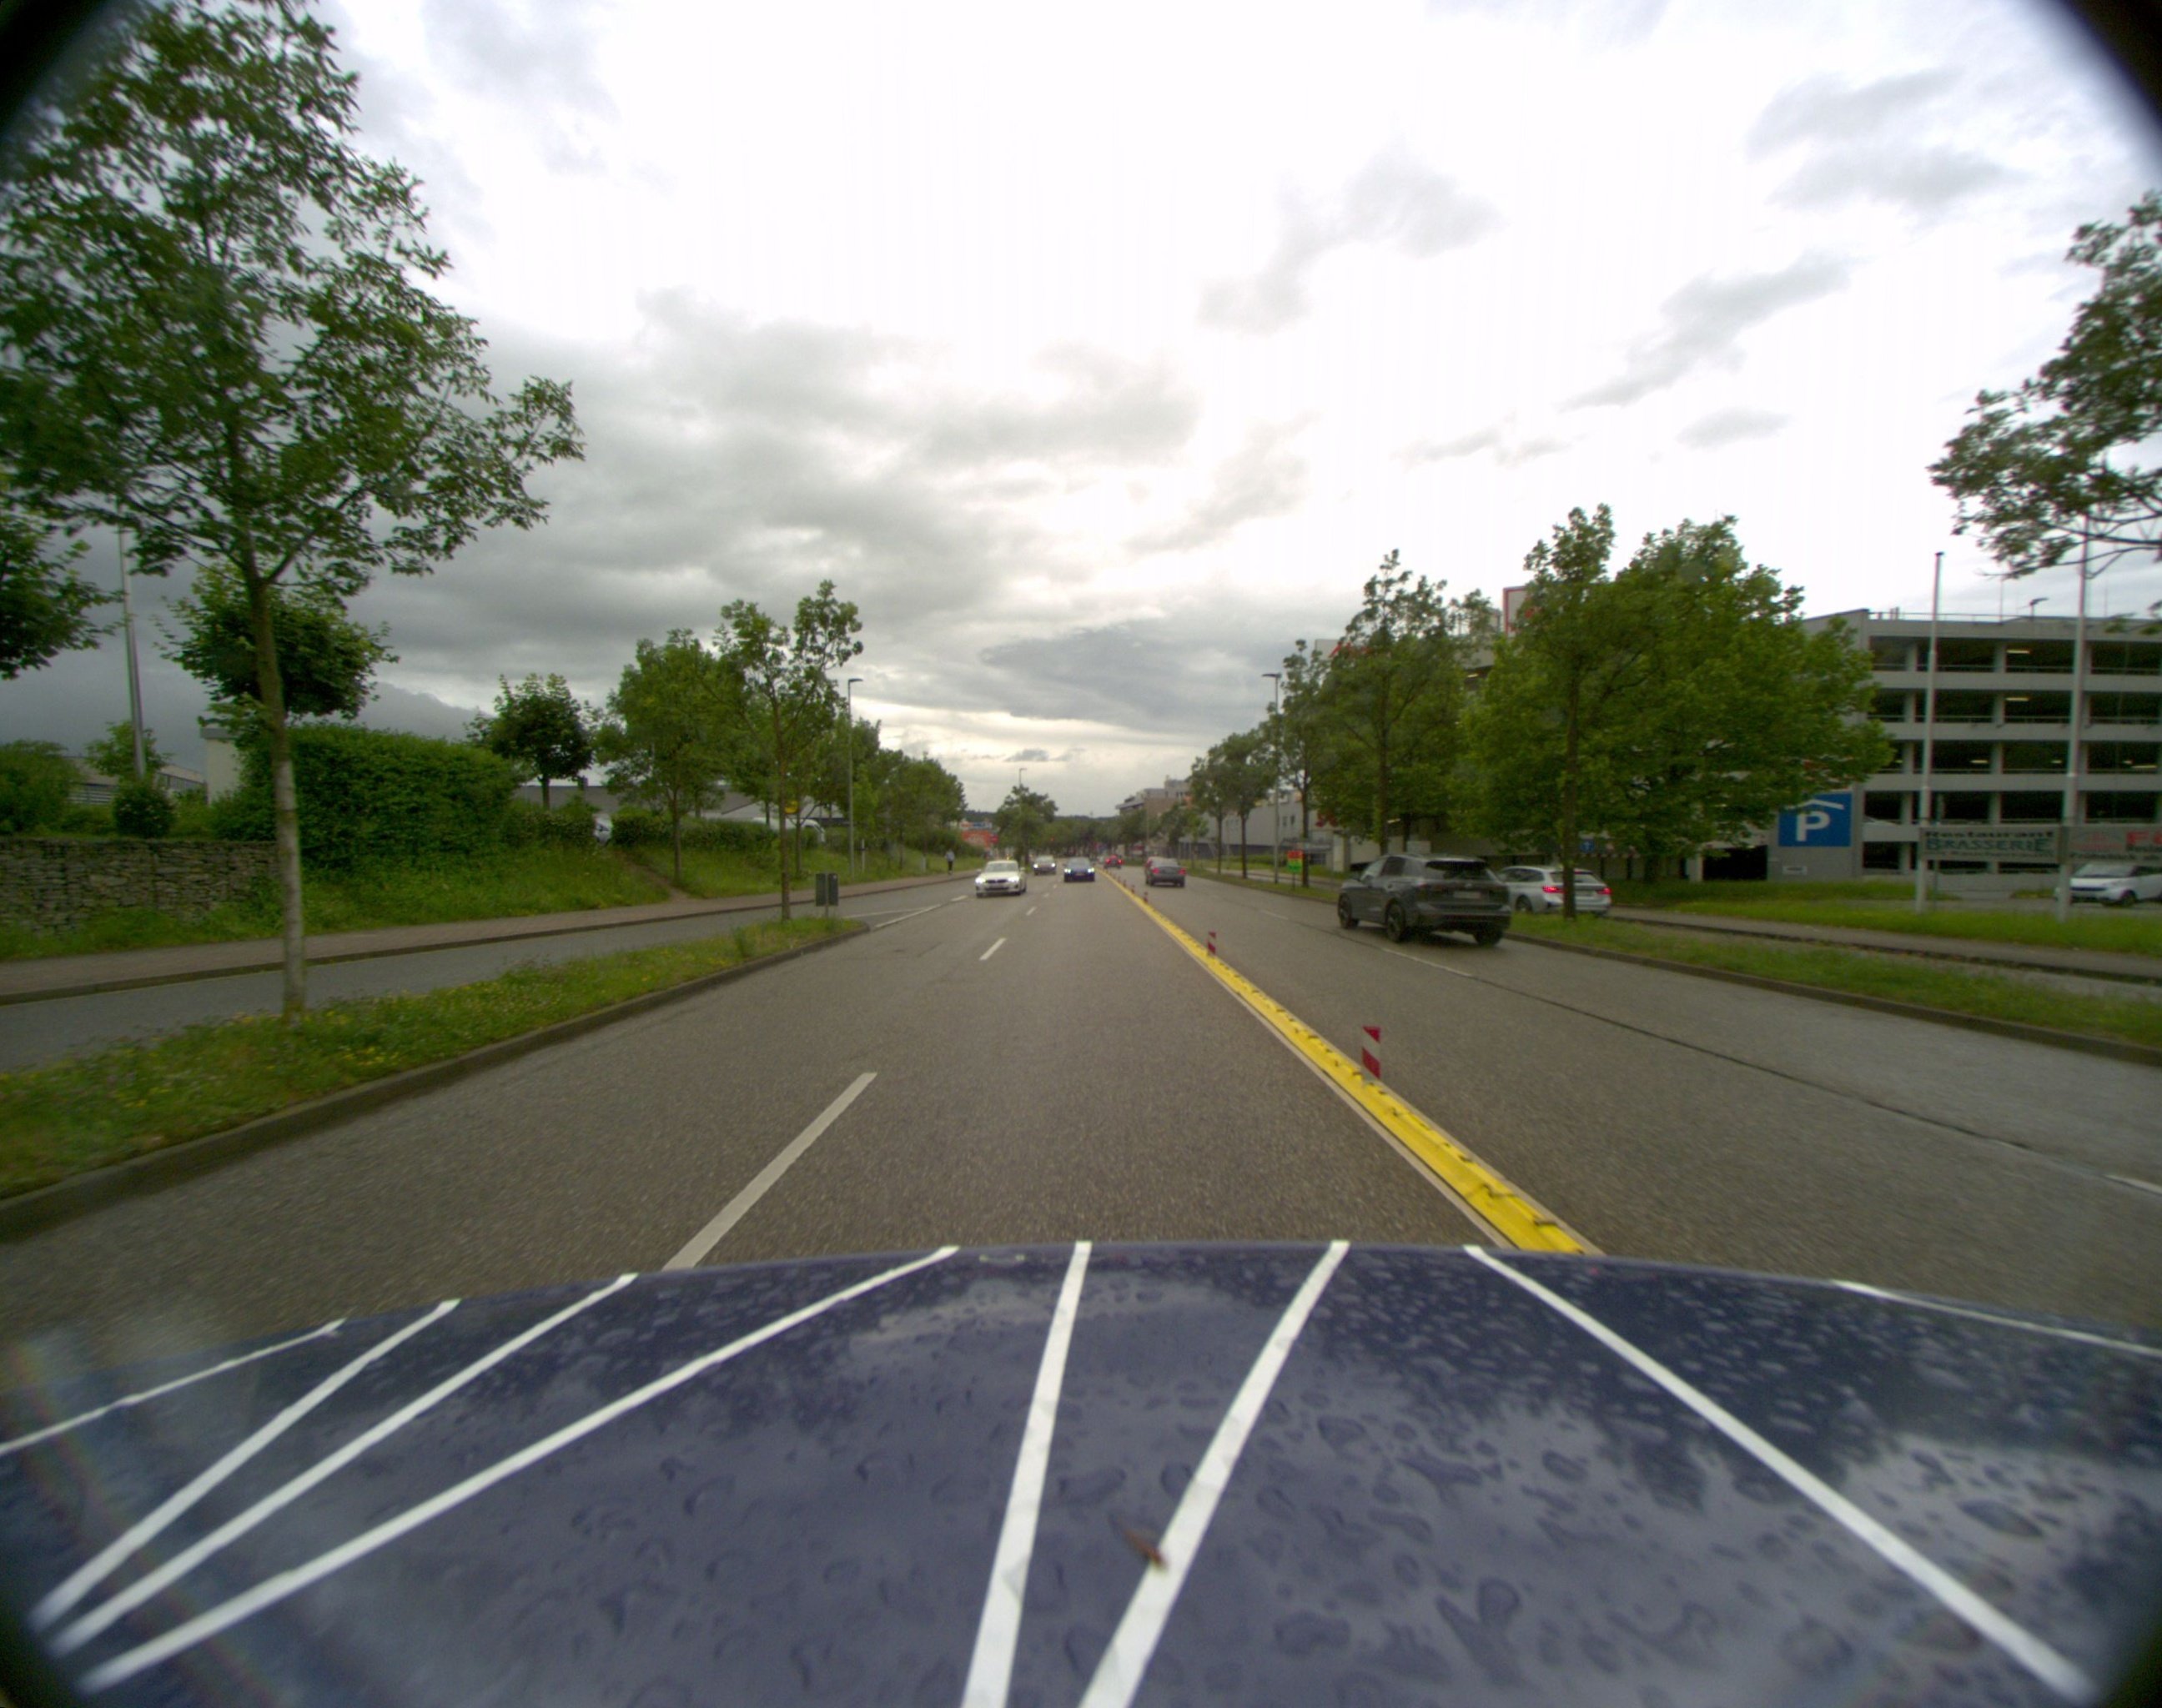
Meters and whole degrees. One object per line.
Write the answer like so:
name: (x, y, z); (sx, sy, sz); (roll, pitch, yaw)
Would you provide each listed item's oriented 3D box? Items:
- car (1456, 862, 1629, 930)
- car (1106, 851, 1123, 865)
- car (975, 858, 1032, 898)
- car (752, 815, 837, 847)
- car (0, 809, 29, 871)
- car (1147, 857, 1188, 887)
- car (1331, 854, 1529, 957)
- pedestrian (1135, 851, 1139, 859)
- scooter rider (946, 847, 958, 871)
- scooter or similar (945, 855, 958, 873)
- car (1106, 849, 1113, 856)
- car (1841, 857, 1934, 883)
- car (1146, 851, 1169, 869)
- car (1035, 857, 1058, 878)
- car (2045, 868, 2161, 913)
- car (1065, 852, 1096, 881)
car: (12.297, 1.045, 20.680); (1.872, 1.544, 4.575); (2, 0, 0)
car: (3.835, 0.453, 86.760); (1.831, 1.457, 4.616); (-1, 0, 1)
car: (-3.246, 0.970, 32.514); (1.808, 1.432, 4.542); (-2, 0, 1)
car: (-21.687, -1.755, 57.662); (5.625, 2.130, 2.120); (2, 1, -7)
car: (-30.449, -0.369, 19.569); (3.998, 1.653, 1.798); (0, 1, -3)
car: (4.470, 0.879, 39.678); (1.671, 1.402, 4.377); (2, 0, 1)
car: (6.459, 0.850, 14.695); (1.792, 1.605, 4.436); (2, 1, 1)
pedestrian: (11.389, 0.160, 155.372); (0.586, 1.574, 0.766); (-3, 1, -4)
scooter rider: (-9.773, 0.350, 57.480); (0.696, 1.810, 0.858); (1, 1, -1)
scooter or similar: (-9.786, 0.748, 57.462); (0.696, 1.256, 1.400); (1, 1, 0)
car: (9.299, -0.577, 250.344); (1.999, 2.002, 4.884); (-4, 1, -1)
car: (49.051, 0.964, 46.309); (1.756, 1.454, 3.834); (-4, 2, -44)
car: (6.493, 0.472, 64.873); (1.766, 1.417, 4.180); (1, 1, 3)
car: (-2.877, 1.113, 64.391); (1.799, 1.572, 4.218); (-2, 0, -1)
car: (32.749, 1.139, 24.101); (2.705, 1.357, 1.609); (1, -1, -10)
car: (-0.063, 0.735, 46.693); (1.799, 1.572, 4.218); (-2, 0, -1)
